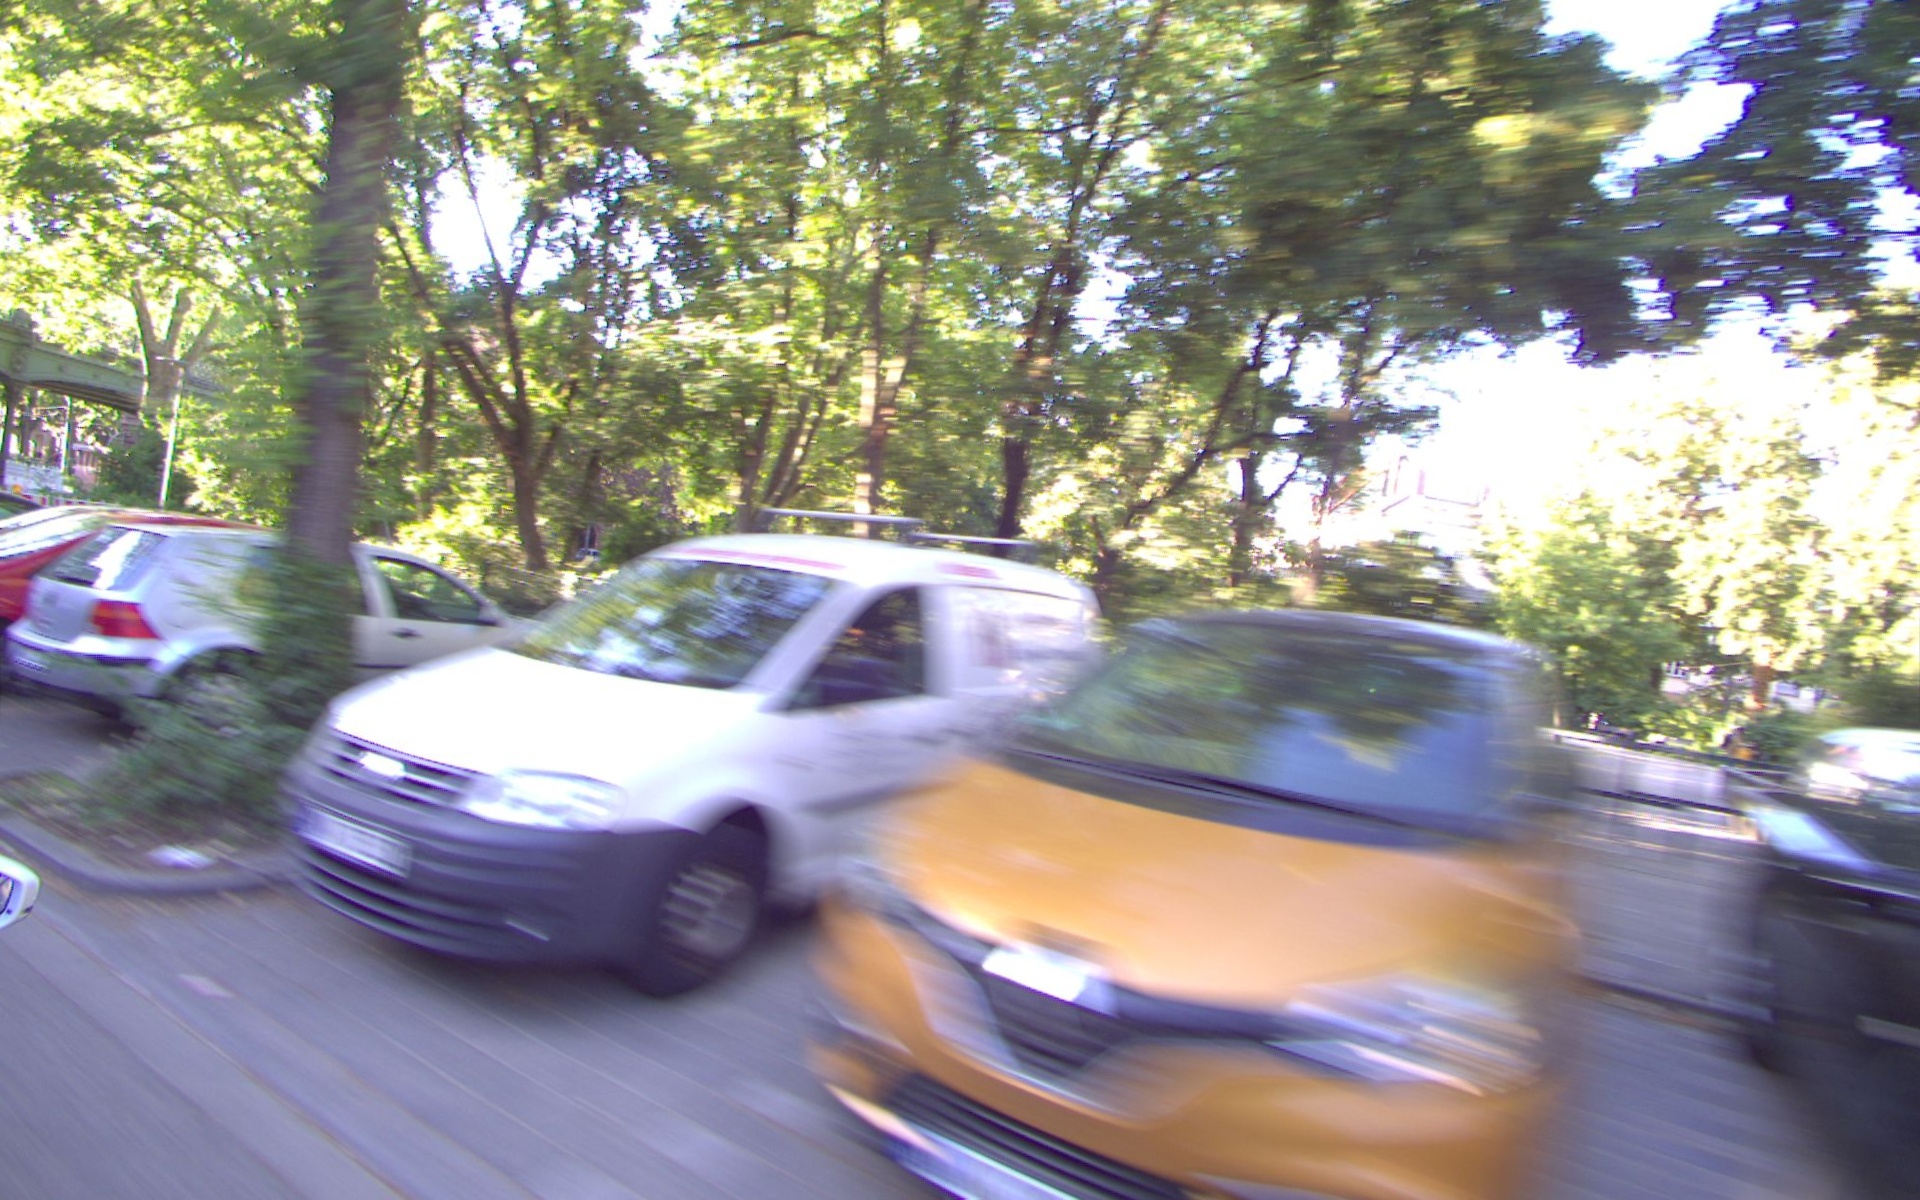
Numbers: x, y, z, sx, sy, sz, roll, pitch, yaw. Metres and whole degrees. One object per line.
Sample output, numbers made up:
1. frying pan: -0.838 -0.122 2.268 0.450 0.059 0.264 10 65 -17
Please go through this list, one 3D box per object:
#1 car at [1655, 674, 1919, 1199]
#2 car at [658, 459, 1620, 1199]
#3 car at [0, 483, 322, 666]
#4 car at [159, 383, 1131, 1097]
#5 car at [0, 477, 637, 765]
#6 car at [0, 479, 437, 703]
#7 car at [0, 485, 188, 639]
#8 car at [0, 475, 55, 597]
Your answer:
1. car: 3.367 1.161 2.723 1.767 1.646 3.998 7 -2 28
2. car: 1.187 0.814 3.675 1.770 1.778 3.991 7 -2 35
3. car: -9.147 -0.288 10.325 1.560 1.592 3.996 7 -2 30
4. car: -0.895 0.379 5.211 1.840 1.950 4.675 7 2 30
5. car: -4.737 0.257 7.768 1.639 1.592 3.993 7 -2 33
6. car: -6.982 -0.030 8.744 1.560 1.592 3.996 7 -2 30
7. car: -11.377 -0.576 11.186 1.560 1.592 4.030 7 -2 30
8. car: -15.572 -1.207 13.568 1.875 1.715 4.543 7 -2 30
